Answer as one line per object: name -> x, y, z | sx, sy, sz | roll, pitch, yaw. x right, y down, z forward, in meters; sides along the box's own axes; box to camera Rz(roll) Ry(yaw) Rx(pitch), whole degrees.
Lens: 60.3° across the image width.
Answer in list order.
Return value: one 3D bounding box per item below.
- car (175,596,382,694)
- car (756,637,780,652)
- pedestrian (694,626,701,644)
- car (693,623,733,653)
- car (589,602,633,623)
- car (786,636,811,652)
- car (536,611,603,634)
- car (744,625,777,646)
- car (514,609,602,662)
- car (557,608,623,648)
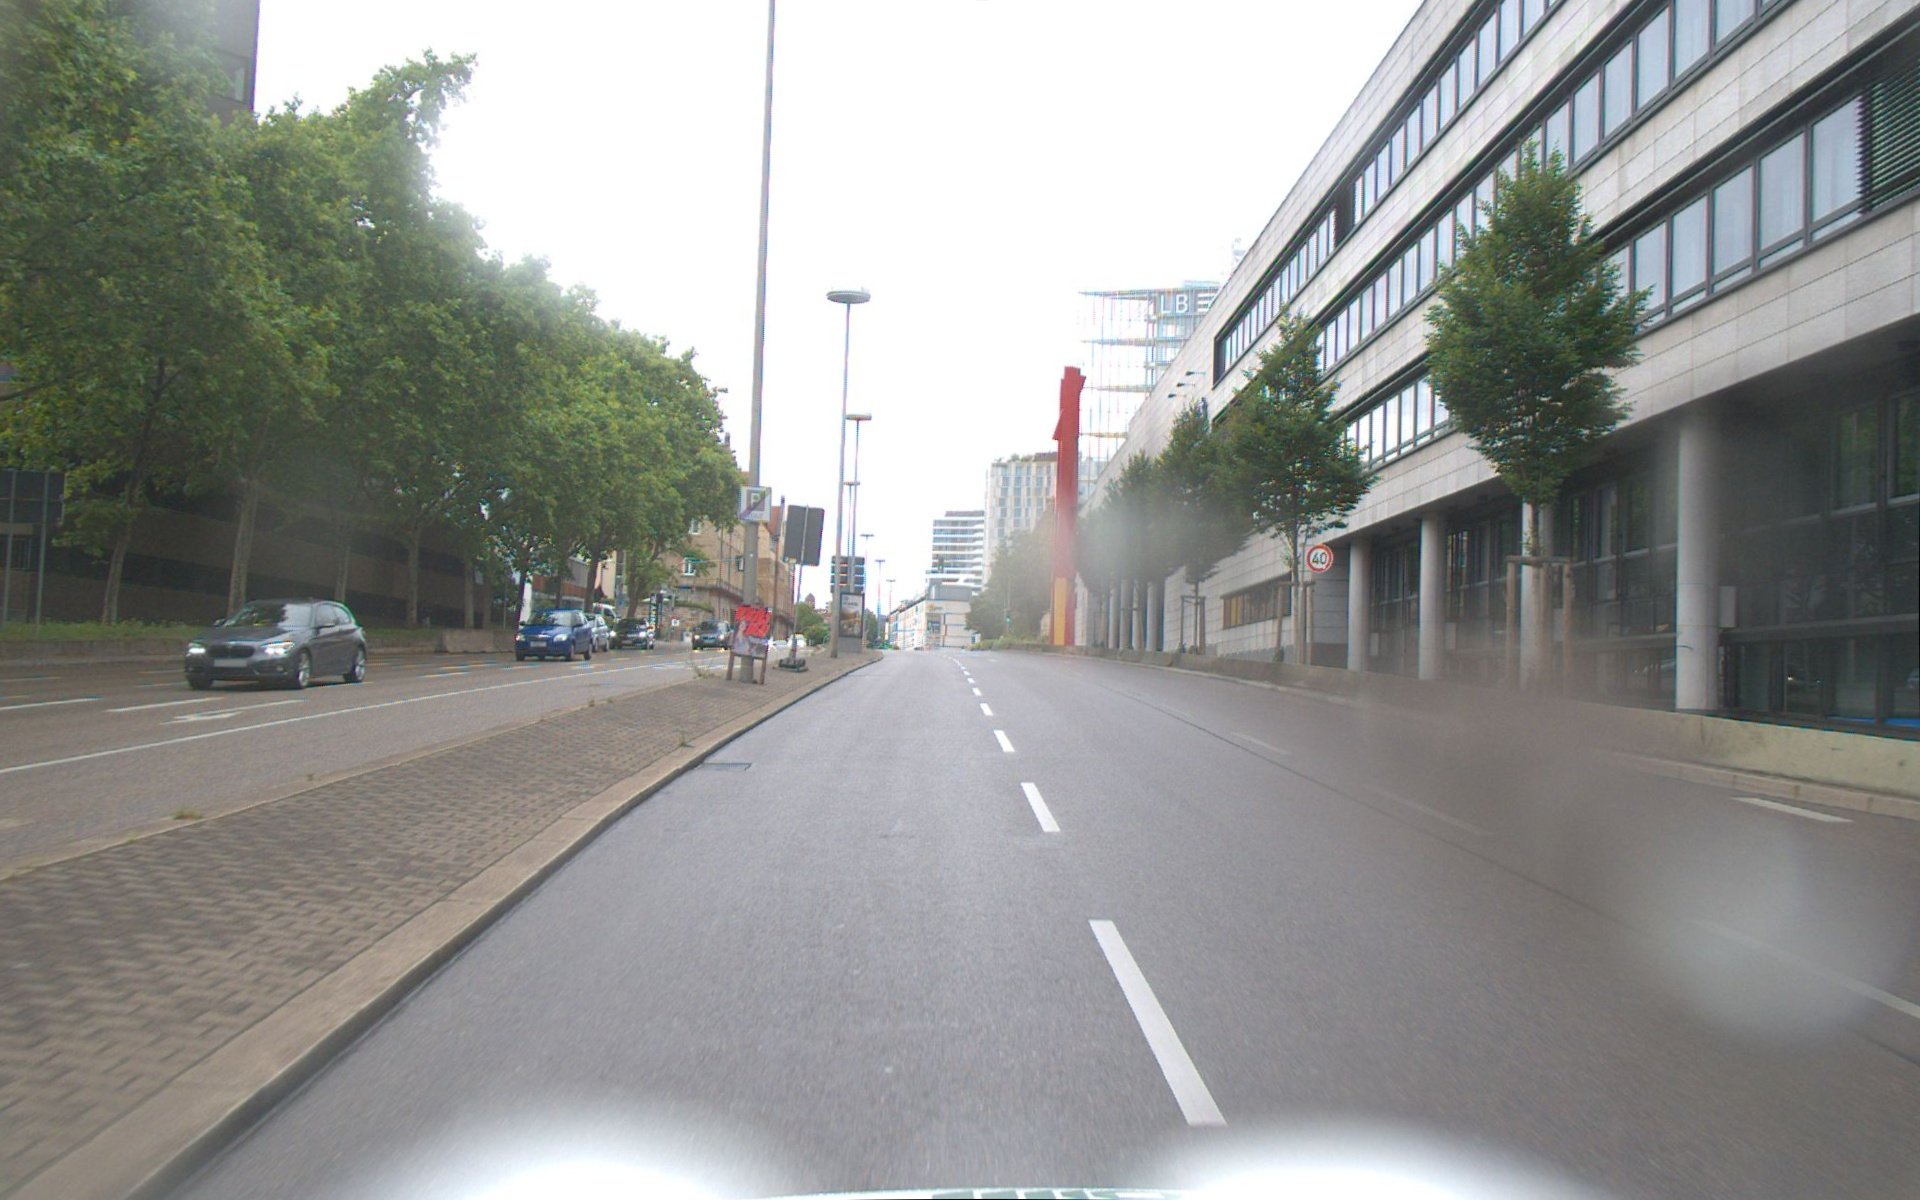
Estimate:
car -> -11.103, 0.678, 27.274 | 1.771, 1.474, 4.338 | 0, 0, -3
car -> -18.143, 4.239, 156.429 | 1.782, 1.409, 4.000 | 0, -2, 1
pedestrian -> -23.846, 3.168, 150.154 | 0.488, 1.639, 0.500 | 1, -2, 2
car -> -12.161, 1.844, 81.607 | 1.653, 1.435, 3.996 | 0, -1, -4
car -> -30.503, 1.097, 144.757 | 3.557, 1.730, 1.824 | 0, -2, -4
car -> -14.975, 4.096, 153.662 | 1.782, 1.494, 4.000 | 0, -2, 1
car -> -27.767, 1.599, 117.724 | 1.789, 1.537, 4.558 | -2, -3, 37
car -> -14.143, 2.549, 117.241 | 1.782, 1.428, 4.000 | 0, -2, 1
car -> -11.750, 1.009, 48.573 | 1.575, 1.499, 4.067 | 1, 0, 0
car -> -14.821, 1.116, 66.451 | 1.564, 1.517, 3.757 | 2, 0, 4
